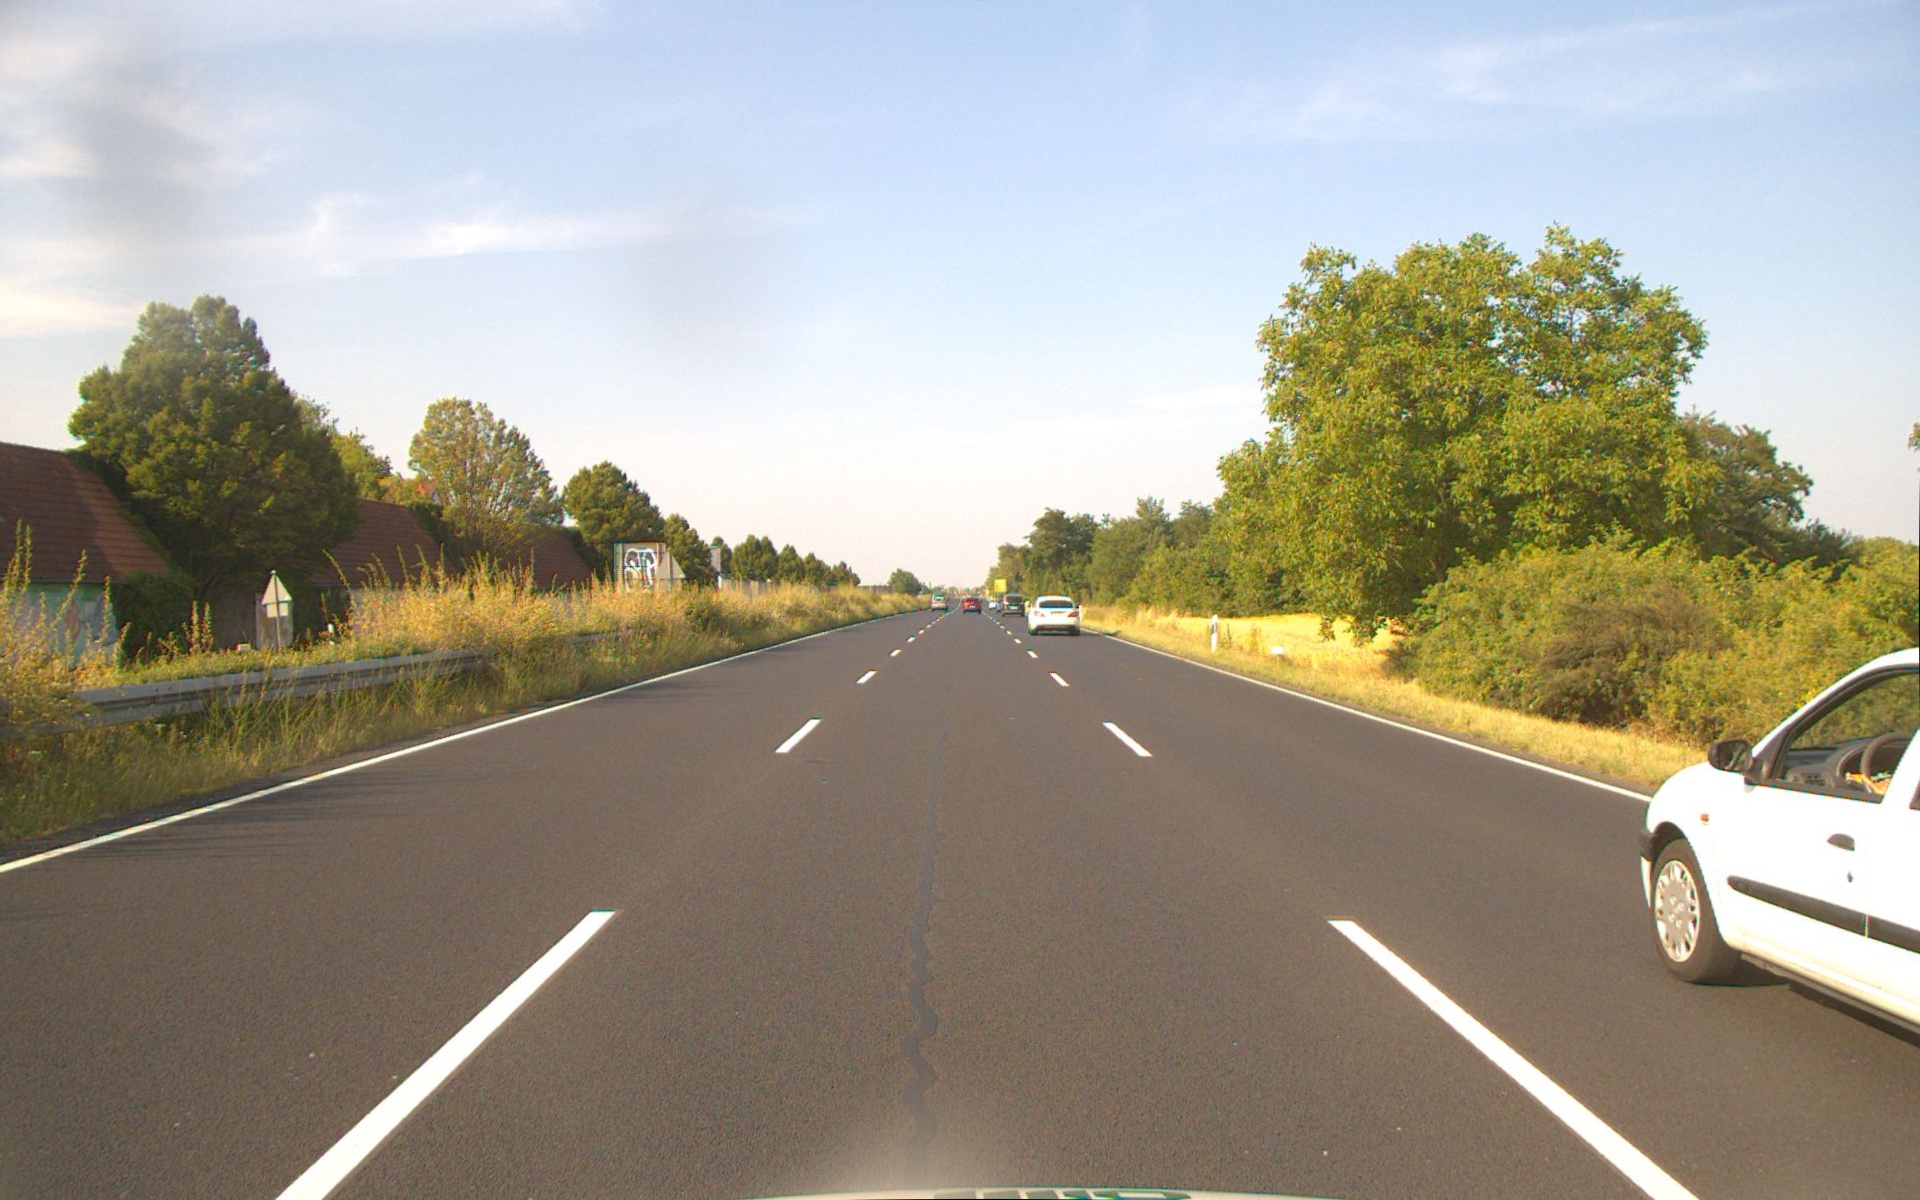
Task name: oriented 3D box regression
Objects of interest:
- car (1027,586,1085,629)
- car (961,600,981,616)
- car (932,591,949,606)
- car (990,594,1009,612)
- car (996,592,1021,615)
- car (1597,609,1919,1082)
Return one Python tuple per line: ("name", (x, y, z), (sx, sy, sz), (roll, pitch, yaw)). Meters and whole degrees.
("car", (3.568, 0.284, 62.260), (1.953, 1.543, 4.000), (1, -1, 0))
("car", (1.029, 0.769, 154.476), (1.775, 1.461, 3.857), (1, -1, -1))
("car", (-2.252, -0.210, 190.436), (1.722, 1.646, 4.001), (1, -1, 2))
("car", (3.964, 0.331, 166.175), (1.796, 1.747, 3.862), (1, -1, 0))
("car", (3.717, 0.295, 127.126), (1.790, 1.758, 3.999), (1, -1, 0))
("car", (3.660, 0.747, 5.442), (1.584, 1.411, 3.951), (1, -1, 0))
